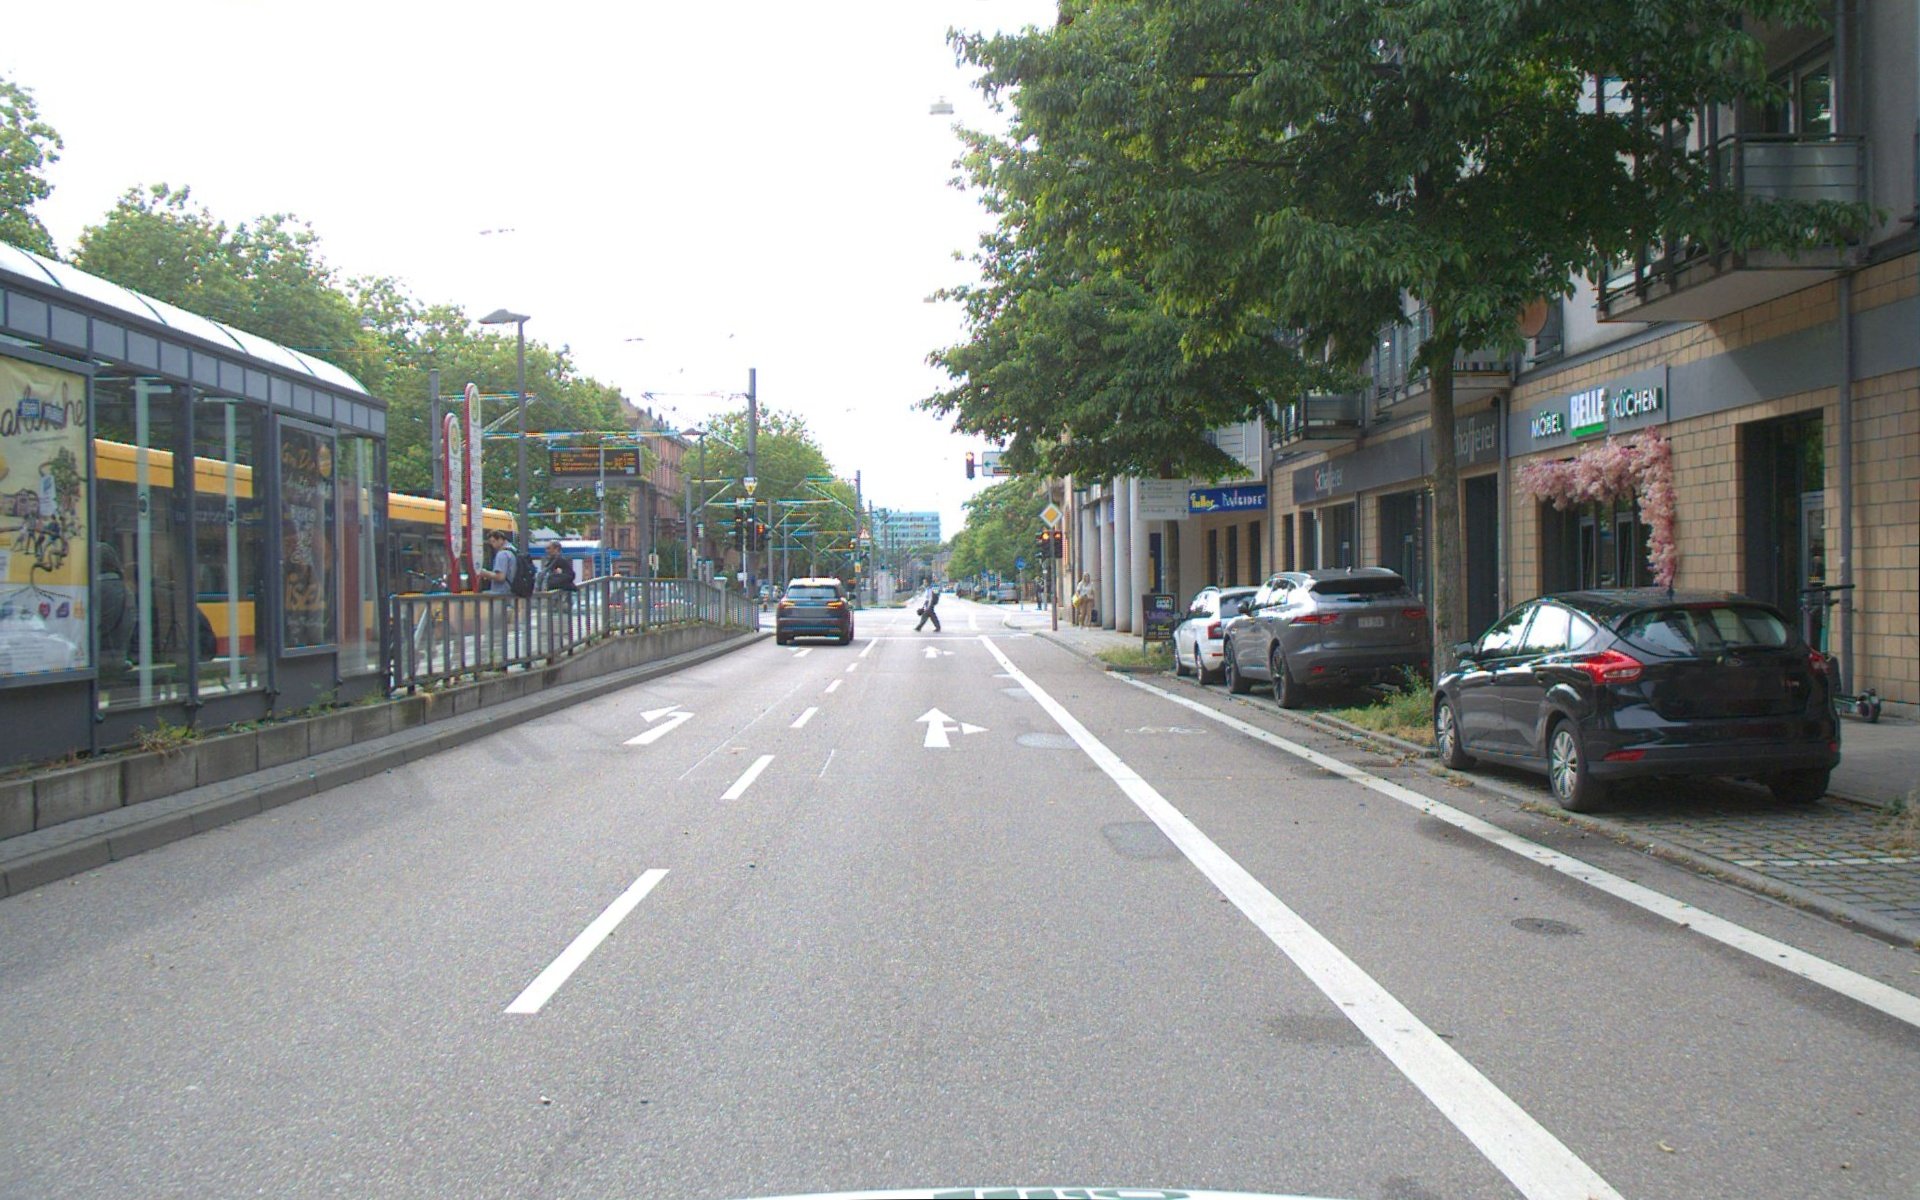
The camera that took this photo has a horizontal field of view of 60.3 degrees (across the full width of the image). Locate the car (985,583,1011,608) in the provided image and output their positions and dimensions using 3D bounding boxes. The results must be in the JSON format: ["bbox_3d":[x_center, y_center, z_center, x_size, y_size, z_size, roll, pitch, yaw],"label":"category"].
[{"bbox_3d":[3.242,-0.370,141.794,1.953,2.049,3.999,1,0,-1],"label":"car"}]

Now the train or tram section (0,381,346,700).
[{"bbox_3d":[-12.354,-0.701,21.856,2.998,3.593,15.291,1,0,-1],"label":"train or tram section"}]

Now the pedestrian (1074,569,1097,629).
[{"bbox_3d":[3.858,-0.040,50.919,0.603,1.837,0.737,-1,0,0],"label":"pedestrian"}]

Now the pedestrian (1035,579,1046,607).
[{"bbox_3d":[4.599,-0.413,94.811,0.535,1.564,0.465,1,0,-5],"label":"pedestrian"}]

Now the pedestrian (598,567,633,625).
[{"bbox_3d":[-11.045,-0.131,52.999,0.900,1.815,0.645,1,0,36],"label":"pedestrian"}]

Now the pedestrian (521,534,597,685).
[{"bbox_3d":[-5.565,0.128,22.939,0.747,2.049,0.807,1,0,-38],"label":"pedestrian"}]

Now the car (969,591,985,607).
[{"bbox_3d":[2.186,-0.126,214.177,1.953,2.049,3.999,1,0,-1],"label":"car"}]

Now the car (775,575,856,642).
[{"bbox_3d":[-3.686,0.192,42.798,1.842,1.629,4.356,0,0,-2],"label":"car"}]

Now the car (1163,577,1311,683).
[{"bbox_3d":[4.469,0.443,27.292,1.642,1.525,4.390,-3,0,0],"label":"car"}]

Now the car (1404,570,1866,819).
[{"bbox_3d":[4.806,0.581,12.529,1.642,1.467,4.408,-3,0,0],"label":"car"}]

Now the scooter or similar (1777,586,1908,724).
[{"bbox_3d":[8.287,0.492,15.573,0.506,1.221,1.214,-3,0,-1],"label":"scooter or similar"}]

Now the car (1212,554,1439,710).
[{"bbox_3d":[4.657,0.367,21.787,1.677,1.747,4.709,-3,0,-3],"label":"car"}]

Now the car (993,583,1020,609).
[{"bbox_3d":[3.692,-0.326,132.368,1.953,2.049,3.999,1,0,-1],"label":"car"}]

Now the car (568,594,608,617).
[{"bbox_3d":[-22.604,0.337,100.591,1.601,1.348,3.999,1,0,-1],"label":"car"}]

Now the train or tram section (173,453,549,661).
[{"bbox_3d":[-12.639,-0.795,37.414,2.998,3.651,15.845,1,0,-1],"label":"train or tram section"}]

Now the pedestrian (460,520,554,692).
[{"bbox_3d":[-5.527,0.068,20.194,0.737,2.049,0.818,1,0,22],"label":"pedestrian"}]

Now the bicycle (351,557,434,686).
[{"bbox_3d":[-5.713,0.205,16.692,0.410,1.243,1.289,1,0,-1],"label":"bicycle"}]

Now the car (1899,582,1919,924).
[{"bbox_3d":[5.127,0.621,5.081,1.762,1.480,4.386,-3,0,-3],"label":"car"}]

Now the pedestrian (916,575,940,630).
[{"bbox_3d":[-0.988,0.076,51.395,0.713,1.690,0.756,1,0,-1],"label":"pedestrian"}]

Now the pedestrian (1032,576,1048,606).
[{"bbox_3d":[4.481,-0.519,92.722,0.834,1.683,0.508,1,0,-3],"label":"pedestrian"}]
